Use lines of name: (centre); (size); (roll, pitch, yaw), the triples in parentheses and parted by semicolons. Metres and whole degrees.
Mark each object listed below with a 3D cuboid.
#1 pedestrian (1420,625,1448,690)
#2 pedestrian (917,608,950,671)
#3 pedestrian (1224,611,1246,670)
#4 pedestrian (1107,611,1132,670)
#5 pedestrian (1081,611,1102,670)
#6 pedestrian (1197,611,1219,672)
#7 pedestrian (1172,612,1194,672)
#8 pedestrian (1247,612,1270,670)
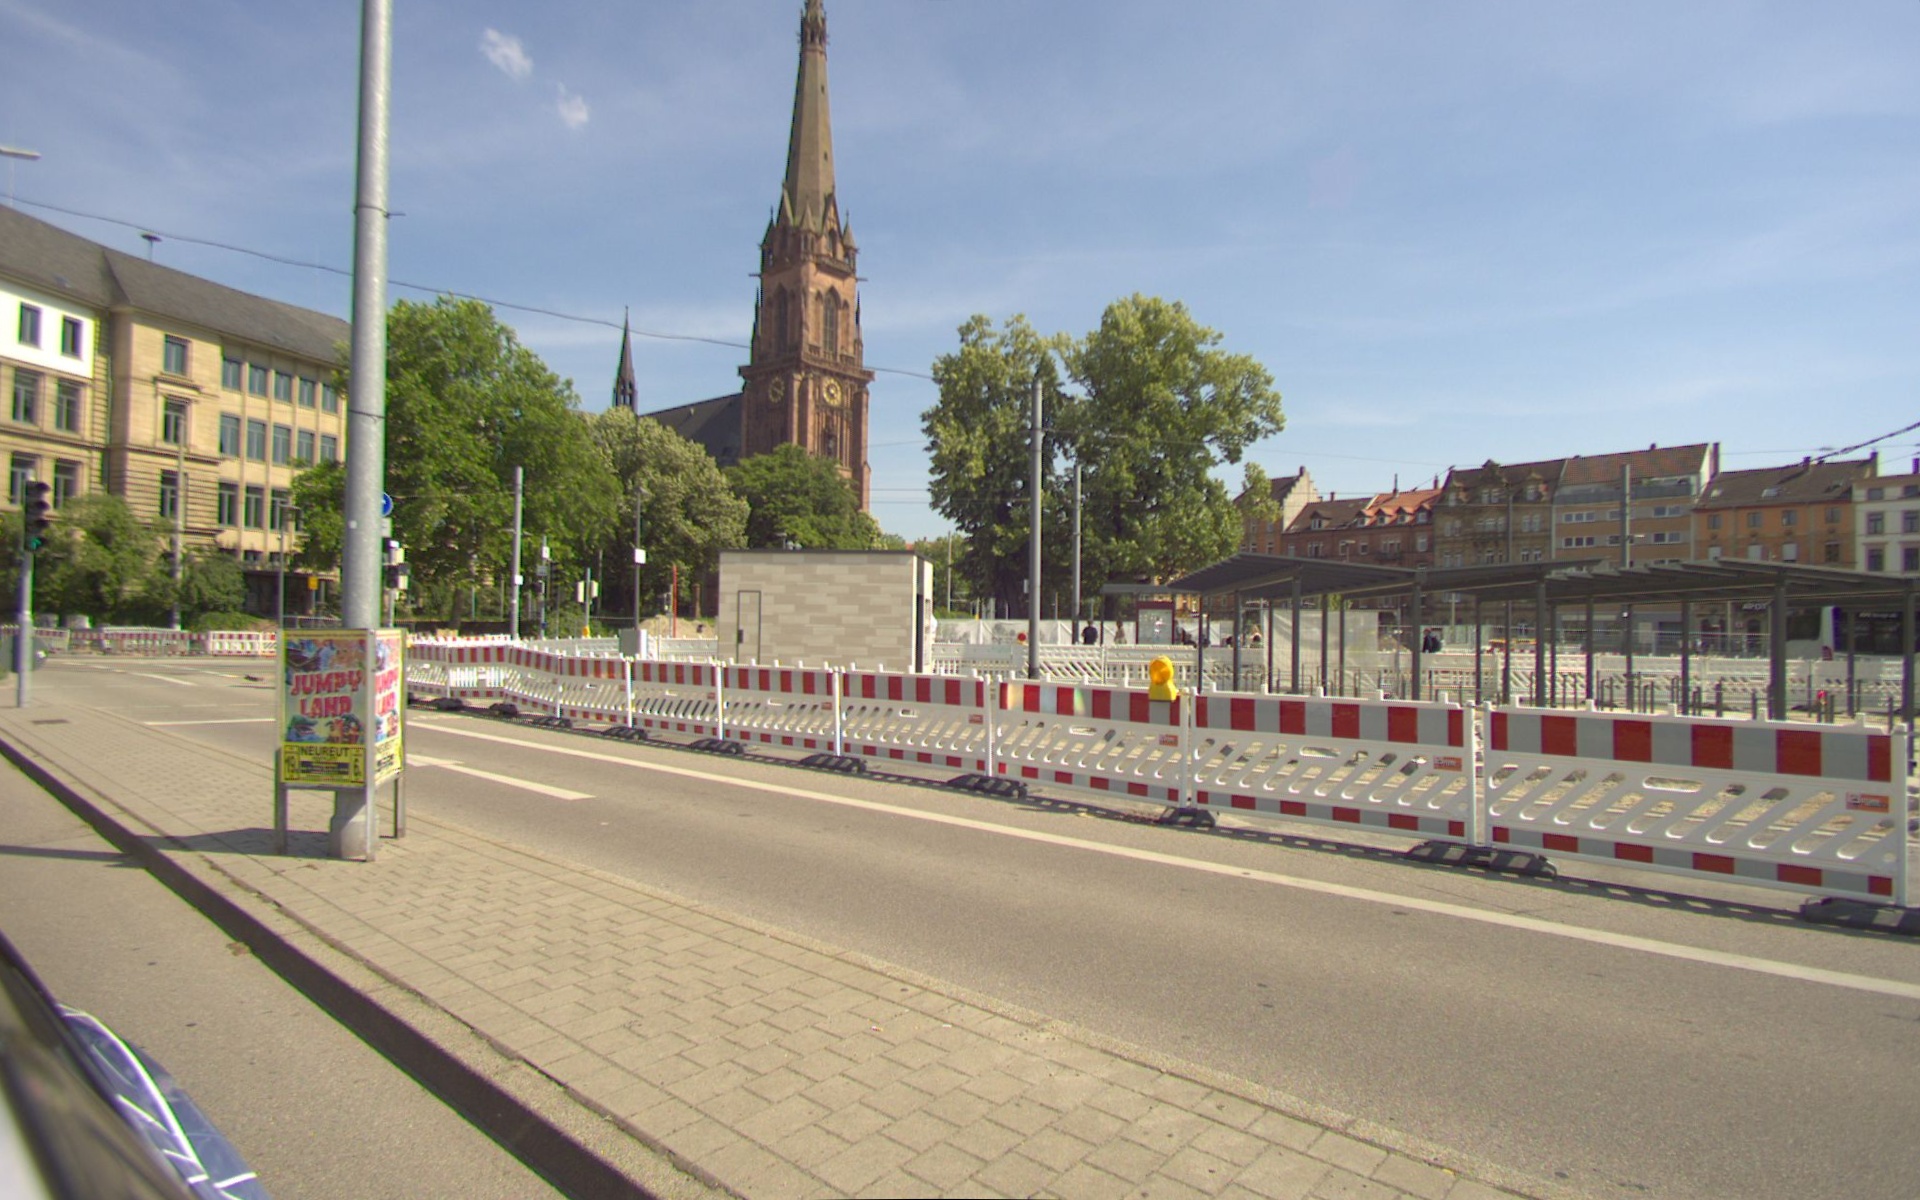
pedestrian: (15.081, 1.821, 32.219); (0.680, 2.029, 0.816); (0, -2, 16)
pedestrian: (-0.862, 1.295, 33.266); (0.686, 2.029, 0.809); (-1, -3, 43)
pedestrian: (9.579, 1.411, 35.291); (0.679, 2.029, 0.818); (0, -2, 11)
pedestrian: (5.543, 1.403, 35.188); (0.810, 2.029, 0.685); (1, -2, 6)
pedestrian: (4.600, 1.415, 35.405); (0.678, 2.029, 0.819); (1, -2, 7)
pedestrian: (8.434, 1.417, 34.467); (0.679, 2.029, 0.818); (0, -2, 11)
pedestrian: (7.624, 1.435, 34.654); (0.679, 2.029, 0.818); (0, -2, 11)
pedestrian: (10.573, 1.443, 35.838); (0.679, 2.029, 0.818); (0, -2, 11)
